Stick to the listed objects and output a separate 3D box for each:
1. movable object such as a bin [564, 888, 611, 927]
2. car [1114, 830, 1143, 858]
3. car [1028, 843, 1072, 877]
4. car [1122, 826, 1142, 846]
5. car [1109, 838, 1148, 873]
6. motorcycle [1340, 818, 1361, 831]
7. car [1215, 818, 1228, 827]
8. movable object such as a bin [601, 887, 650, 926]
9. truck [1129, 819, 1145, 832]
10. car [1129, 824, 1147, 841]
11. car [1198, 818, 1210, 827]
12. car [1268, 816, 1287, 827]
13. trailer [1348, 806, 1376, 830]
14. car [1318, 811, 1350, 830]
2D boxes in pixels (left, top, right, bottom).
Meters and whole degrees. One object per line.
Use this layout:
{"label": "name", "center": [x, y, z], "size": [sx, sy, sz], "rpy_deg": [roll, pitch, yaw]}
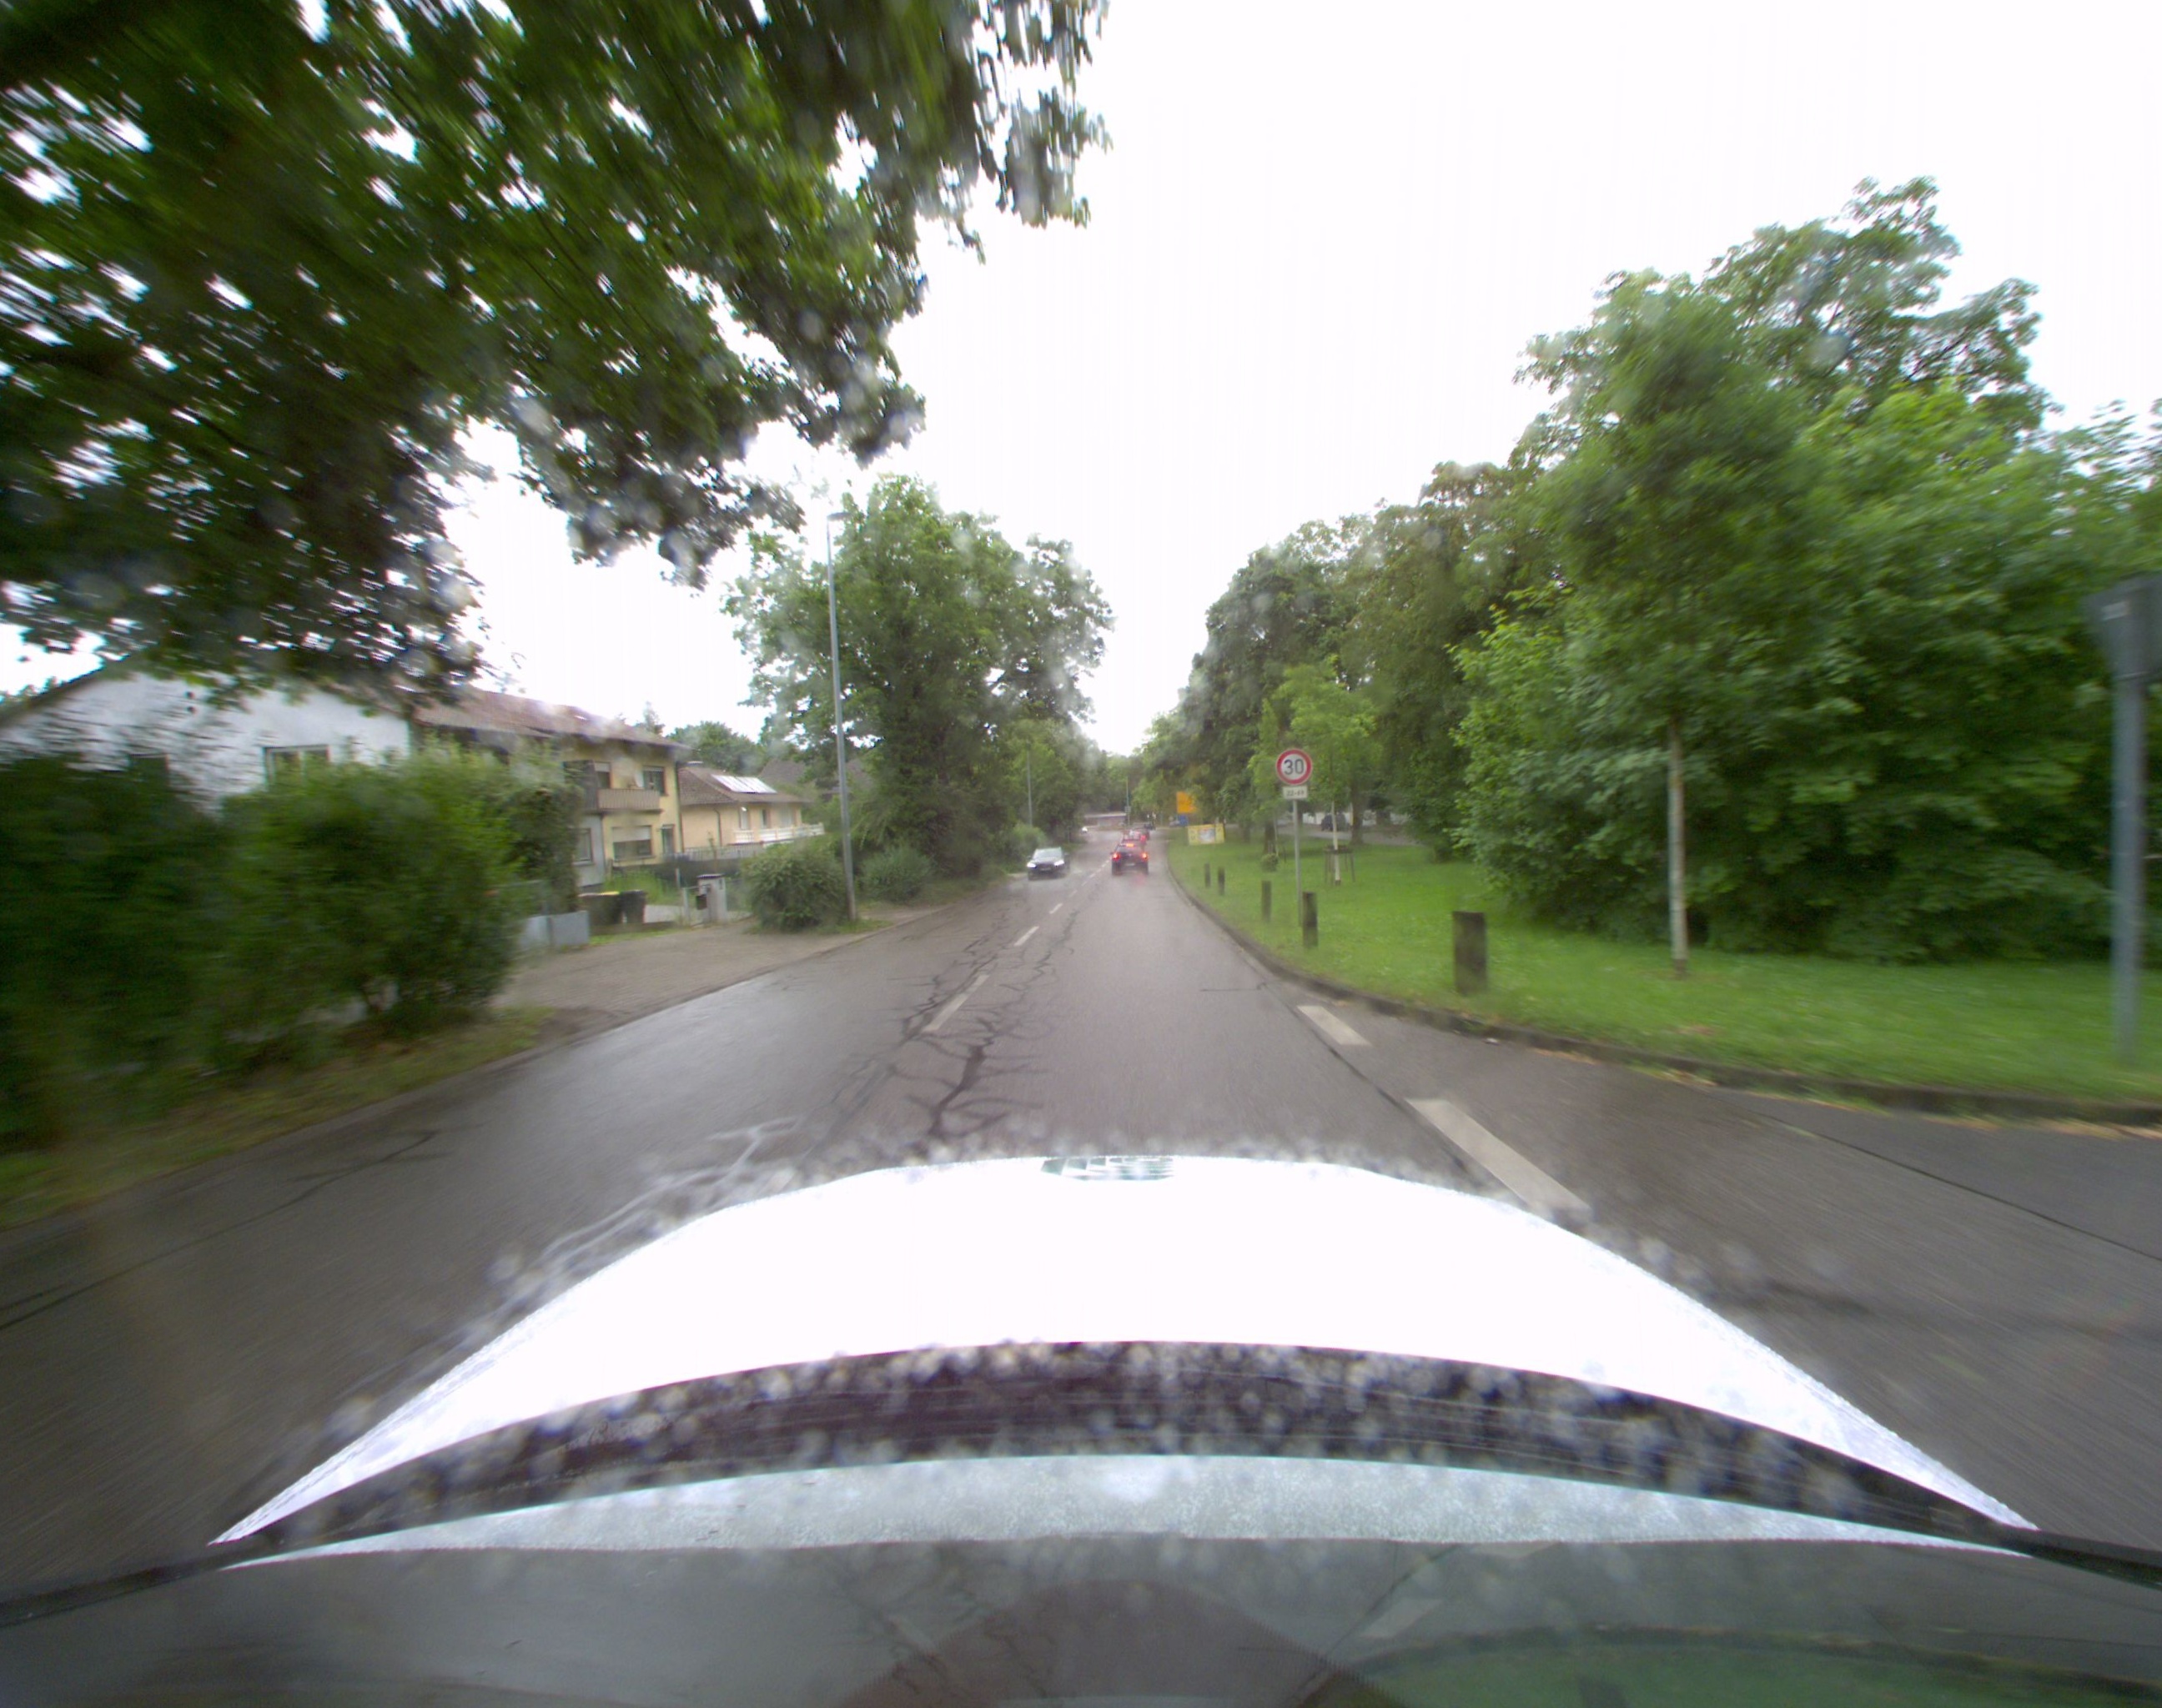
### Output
{"label": "movable object such as a bin", "center": [-11.165, 1.207, 18.444], "size": [0.630, 0.825, 0.634], "rpy_deg": [-2, 1, 2]}
{"label": "car", "center": [3.384, -0.719, 57.757], "size": [1.847, 1.784, 4.006], "rpy_deg": [-3, 2, 5]}
{"label": "car", "center": [-1.486, 0.254, 40.263], "size": [1.747, 1.363, 4.329], "rpy_deg": [-4, 2, 2]}
{"label": "car", "center": [5.011, -1.793, 79.602], "size": [1.847, 1.784, 4.006], "rpy_deg": [-3, 2, 5]}
{"label": "car", "center": [2.357, 0.032, 39.489], "size": [1.790, 1.515, 3.760], "rpy_deg": [0, 2, 5]}
{"label": "motorcycle", "center": [26.532, -2.910, 80.200], "size": [1.868, 1.092, 0.663], "rpy_deg": [-2, 4, 24]}
{"label": "car", "center": [25.202, -5.594, 146.206], "size": [1.795, 1.405, 4.006], "rpy_deg": [-5, 3, 5]}
{"label": "movable object such as a bin", "center": [-10.295, 1.181, 18.425], "size": [0.705, 0.825, 0.634], "rpy_deg": [-2, 1, 2]}
{"label": "truck", "center": [8.999, -4.578, 130.563], "size": [2.406, 2.004, 5.156], "rpy_deg": [-3, 2, 3]}
{"label": "car", "center": [6.465, -2.471, 92.279], "size": [1.847, 1.784, 4.006], "rpy_deg": [-3, 2, 5]}
{"label": "car", "center": [22.046, -5.674, 146.403], "size": [1.795, 1.385, 4.006], "rpy_deg": [-5, 3, 5]}
{"label": "car", "center": [27.365, -4.542, 113.631], "size": [1.611, 1.409, 4.010], "rpy_deg": [-4, 3, -1]}
{"label": "trailer", "center": [26.755, -3.447, 77.639], "size": [1.432, 2.153, 2.950], "rpy_deg": [-5, 2, -1]}
{"label": "car", "center": [27.082, -3.646, 87.293], "size": [1.934, 1.808, 4.652], "rpy_deg": [-5, 3, 2]}
